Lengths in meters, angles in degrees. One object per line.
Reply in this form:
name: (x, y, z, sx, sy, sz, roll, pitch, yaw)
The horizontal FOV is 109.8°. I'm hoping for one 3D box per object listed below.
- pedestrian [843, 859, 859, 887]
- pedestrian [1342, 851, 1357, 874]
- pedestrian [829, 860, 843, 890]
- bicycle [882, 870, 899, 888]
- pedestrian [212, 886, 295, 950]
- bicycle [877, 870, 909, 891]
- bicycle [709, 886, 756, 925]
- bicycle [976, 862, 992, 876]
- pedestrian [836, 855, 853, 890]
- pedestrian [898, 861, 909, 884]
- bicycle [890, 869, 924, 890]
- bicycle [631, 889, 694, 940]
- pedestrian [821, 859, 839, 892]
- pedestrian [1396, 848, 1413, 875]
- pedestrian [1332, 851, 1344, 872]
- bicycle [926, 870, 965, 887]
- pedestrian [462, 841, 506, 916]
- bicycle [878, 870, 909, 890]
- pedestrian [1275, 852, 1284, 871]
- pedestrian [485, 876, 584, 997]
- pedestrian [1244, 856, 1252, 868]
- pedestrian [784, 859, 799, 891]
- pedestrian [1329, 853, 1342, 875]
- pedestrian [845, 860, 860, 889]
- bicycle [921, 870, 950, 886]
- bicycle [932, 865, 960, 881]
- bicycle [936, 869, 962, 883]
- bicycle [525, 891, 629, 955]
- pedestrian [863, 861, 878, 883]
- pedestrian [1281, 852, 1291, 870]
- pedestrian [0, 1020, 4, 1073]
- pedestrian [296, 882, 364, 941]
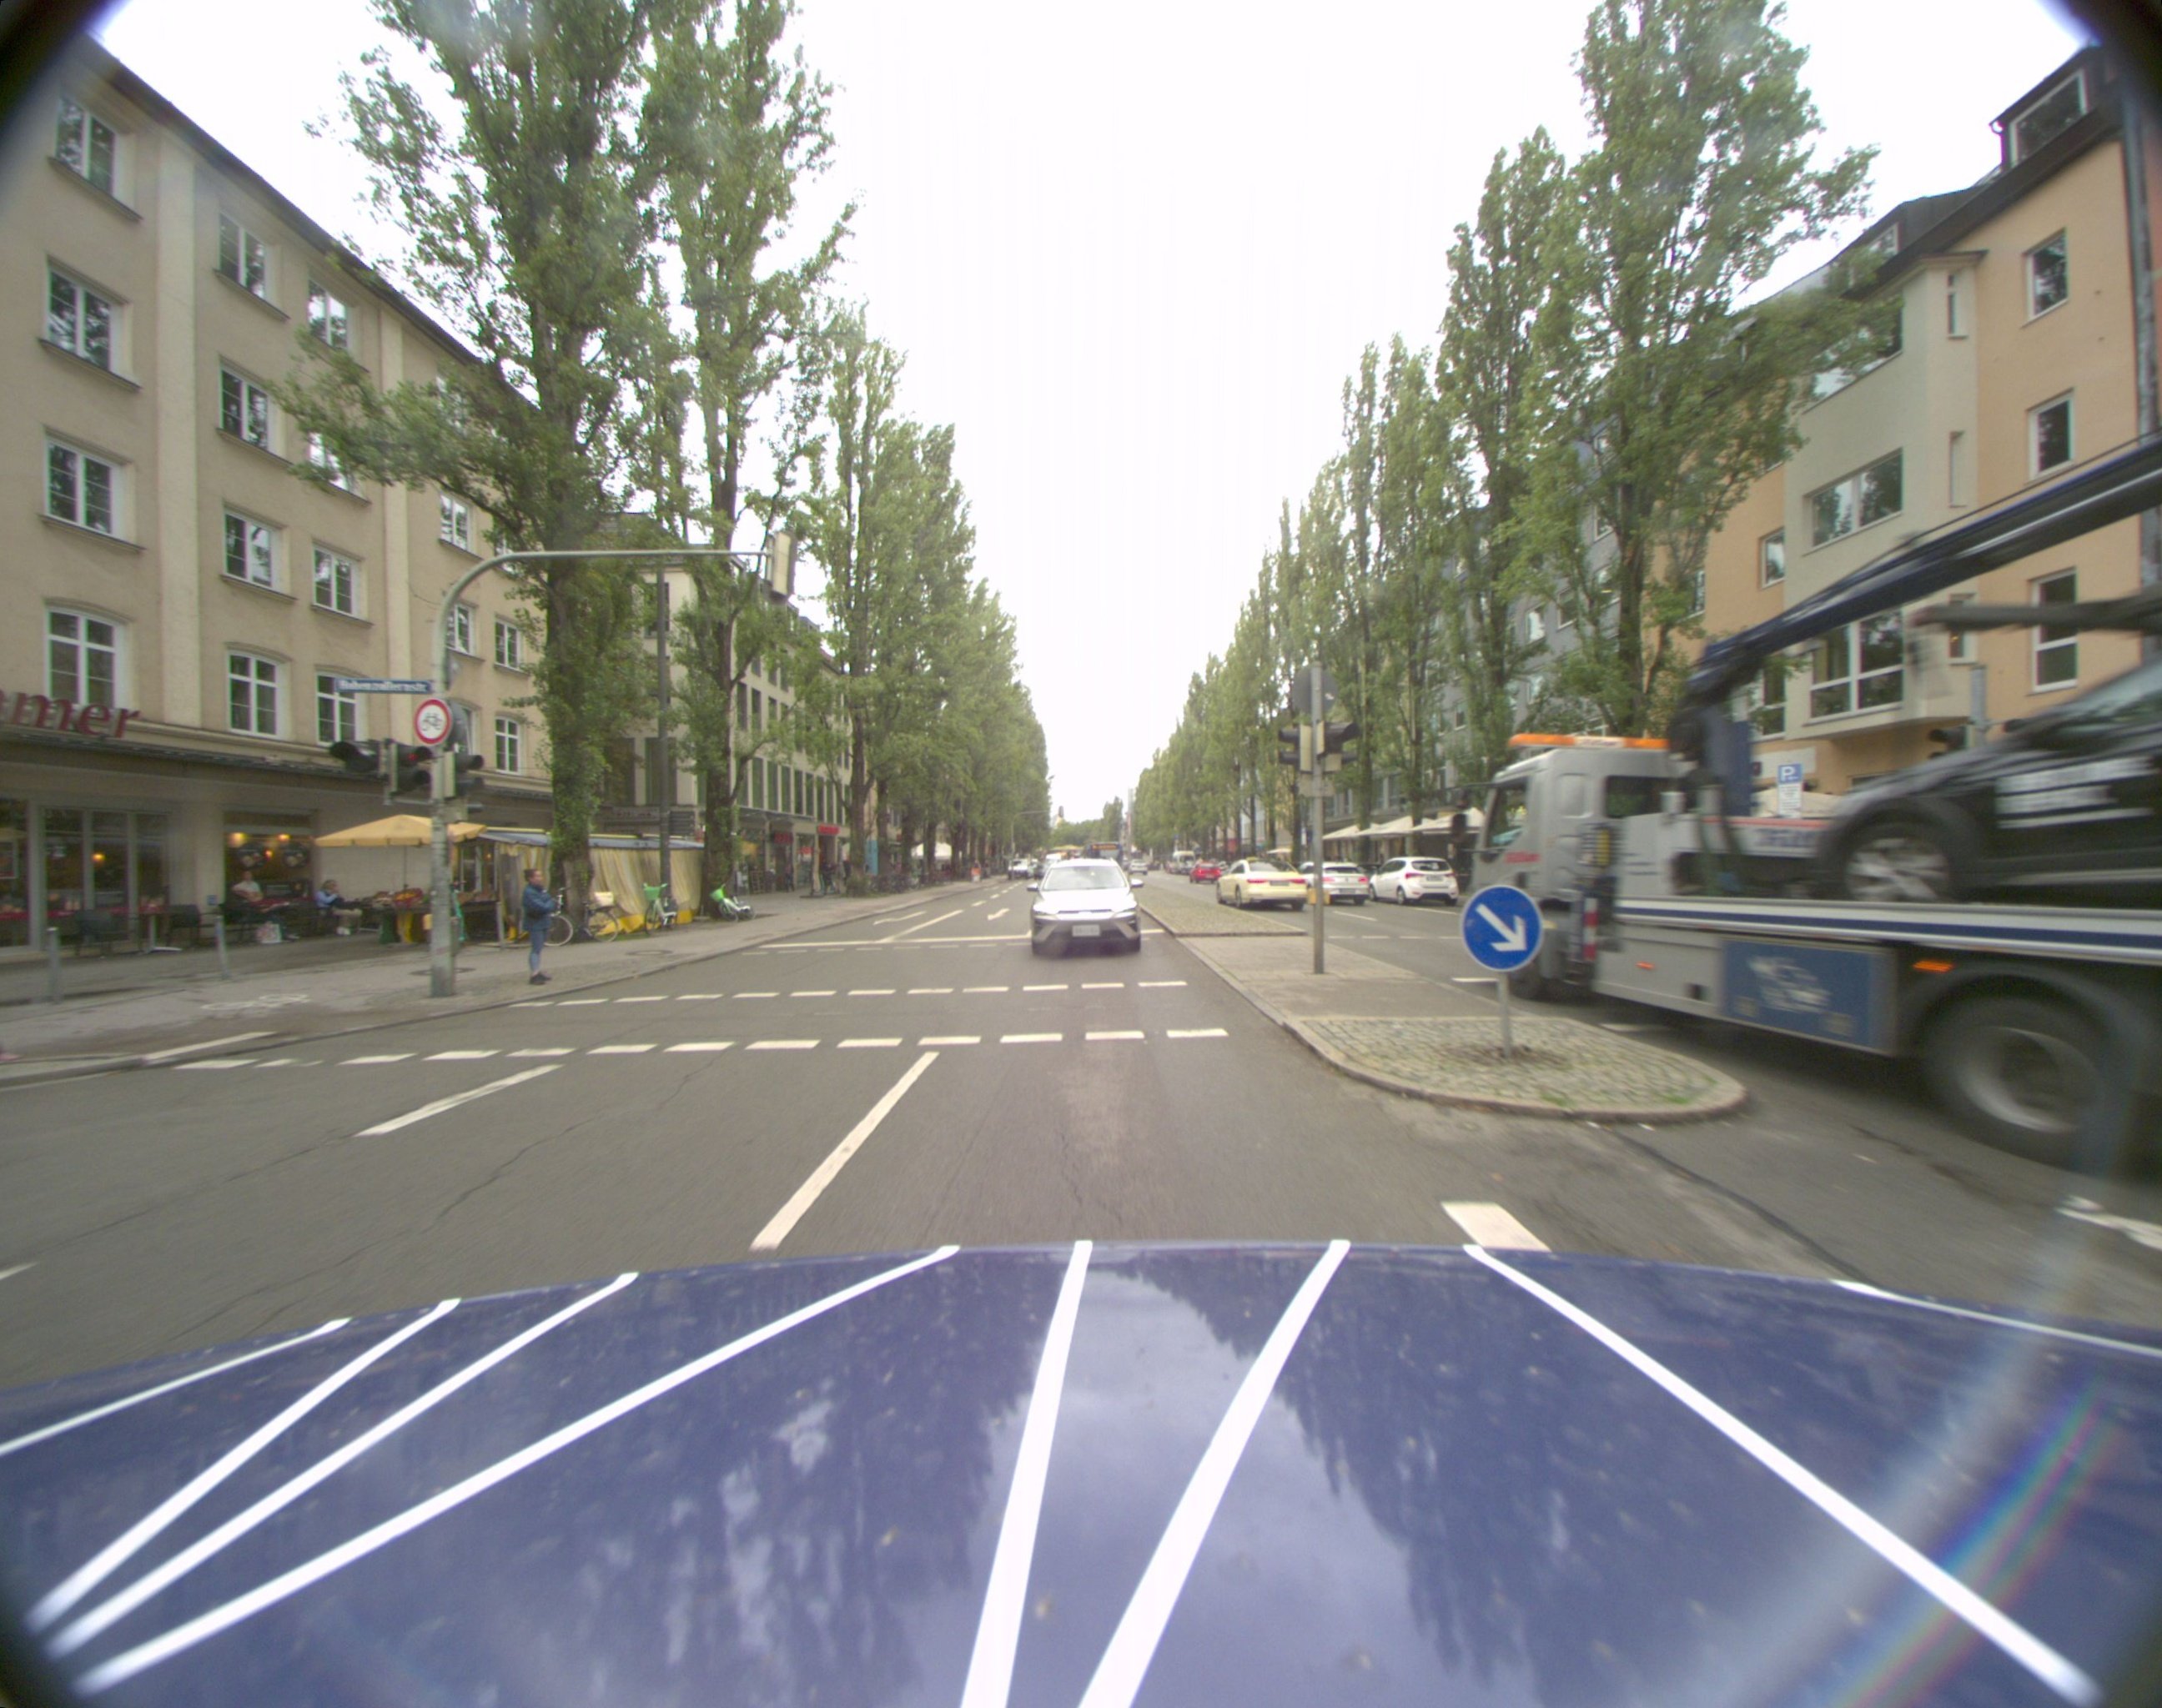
pedestrian: (-15.412, 1.285, 51.028, 0.753, 1.843, 0.821, -2, 0, 2)
pedestrian: (20.288, 0.651, 57.407, 0.820, 1.744, 0.756, -1, 0, 1)
pedestrian: (-14.892, 1.285, 46.251, 0.566, 1.774, 0.674, -1, 0, 1)
bicycle: (-11.829, 1.553, 47.171, 0.392, 1.057, 2.006, 0, 0, 4)
pedestrian: (-16.685, 1.278, 15.337, 0.870, 1.192, 0.699, 3, 0, 1)
bicycle: (-10.501, 1.489, 42.438, 1.679, 1.110, 0.286, -1, 0, -12)
bicycle: (-9.791, 1.435, 21.405, 0.510, 0.970, 1.770, -1, 0, -2)
bicycle: (-9.851, 1.510, 77.208, 0.829, 1.403, 2.594, -2, 0, -26)
pedestrian: (-13.463, 1.039, 43.241, 0.658, 1.959, 0.722, -1, 0, 3)
pedestrian: (-13.103, 1.358, 56.020, 0.566, 1.732, 0.697, -2, 0, 3)
bicycle: (-10.075, 1.472, 43.940, 1.871, 1.128, 0.339, -1, 0, -8)
bicycle: (-9.711, 1.377, 17.713, 0.510, 1.042, 1.770, -1, 0, -2)
pedestrian: (-14.222, 1.194, 43.065, 0.658, 1.840, 0.906, -1, 0, 2)
pedestrian: (20.292, 0.462, 47.675, 0.742, 1.631, 0.756, -1, 0, 2)
pedestrian: (20.508, 0.628, 60.703, 0.710, 1.663, 0.756, -1, 0, 1)
bicycle: (-9.715, 1.758, 54.528, 2.577, 1.208, 0.965, -1, 0, 0)
pedestrian: (-13.459, 0.541, 17.136, 0.541, 1.663, 0.537, -1, 0, 7)
bicycle: (-10.580, 1.468, 42.865, 1.666, 1.100, 0.396, -1, 0, -11)
pedestrian: (19.455, 0.716, 74.475, 0.749, 1.784, 0.716, -1, 0, 0)
pedestrian: (-7.647, 1.120, 10.672, 0.767, 1.600, 0.864, -1, 0, -4)
pedestrian: (19.147, 0.928, 87.117, 0.649, 1.430, 0.551, -1, 0, -5)
pedestrian: (-16.226, 1.178, 42.585, 0.548, 1.757, 0.642, -2, 0, 0)
pedestrian: (19.324, 0.781, 57.702, 0.723, 1.641, 0.712, -1, 0, 0)
pedestrian: (-13.834, 1.243, 46.095, 0.658, 1.774, 0.674, -1, 0, 1)
bicycle: (-9.360, 1.530, 48.898, 1.842, 1.003, 0.393, 0, 0, 9)
bicycle: (-9.918, 1.401, 55.870, 1.902, 1.120, 0.686, -1, 0, 0)
bicycle: (-9.896, 1.655, 56.875, 1.844, 1.003, 0.503, -1, 0, 0)
bicycle: (-10.020, 1.346, 15.198, 0.405, 1.064, 1.813, -6, -1, 16)
pedestrian: (-15.600, 1.343, 56.360, 0.764, 1.594, 1.016, -2, 0, 1)
pedestrian: (20.070, 0.691, 74.481, 0.749, 1.784, 0.716, -1, 0, 0)
pedestrian: (-9.519, 1.180, 6.226, 0.767, 1.509, 0.620, 1, 3, 44)
pedestrian: (-16.782, 1.271, 16.994, 0.777, 1.257, 0.699, -1, 0, 1)
